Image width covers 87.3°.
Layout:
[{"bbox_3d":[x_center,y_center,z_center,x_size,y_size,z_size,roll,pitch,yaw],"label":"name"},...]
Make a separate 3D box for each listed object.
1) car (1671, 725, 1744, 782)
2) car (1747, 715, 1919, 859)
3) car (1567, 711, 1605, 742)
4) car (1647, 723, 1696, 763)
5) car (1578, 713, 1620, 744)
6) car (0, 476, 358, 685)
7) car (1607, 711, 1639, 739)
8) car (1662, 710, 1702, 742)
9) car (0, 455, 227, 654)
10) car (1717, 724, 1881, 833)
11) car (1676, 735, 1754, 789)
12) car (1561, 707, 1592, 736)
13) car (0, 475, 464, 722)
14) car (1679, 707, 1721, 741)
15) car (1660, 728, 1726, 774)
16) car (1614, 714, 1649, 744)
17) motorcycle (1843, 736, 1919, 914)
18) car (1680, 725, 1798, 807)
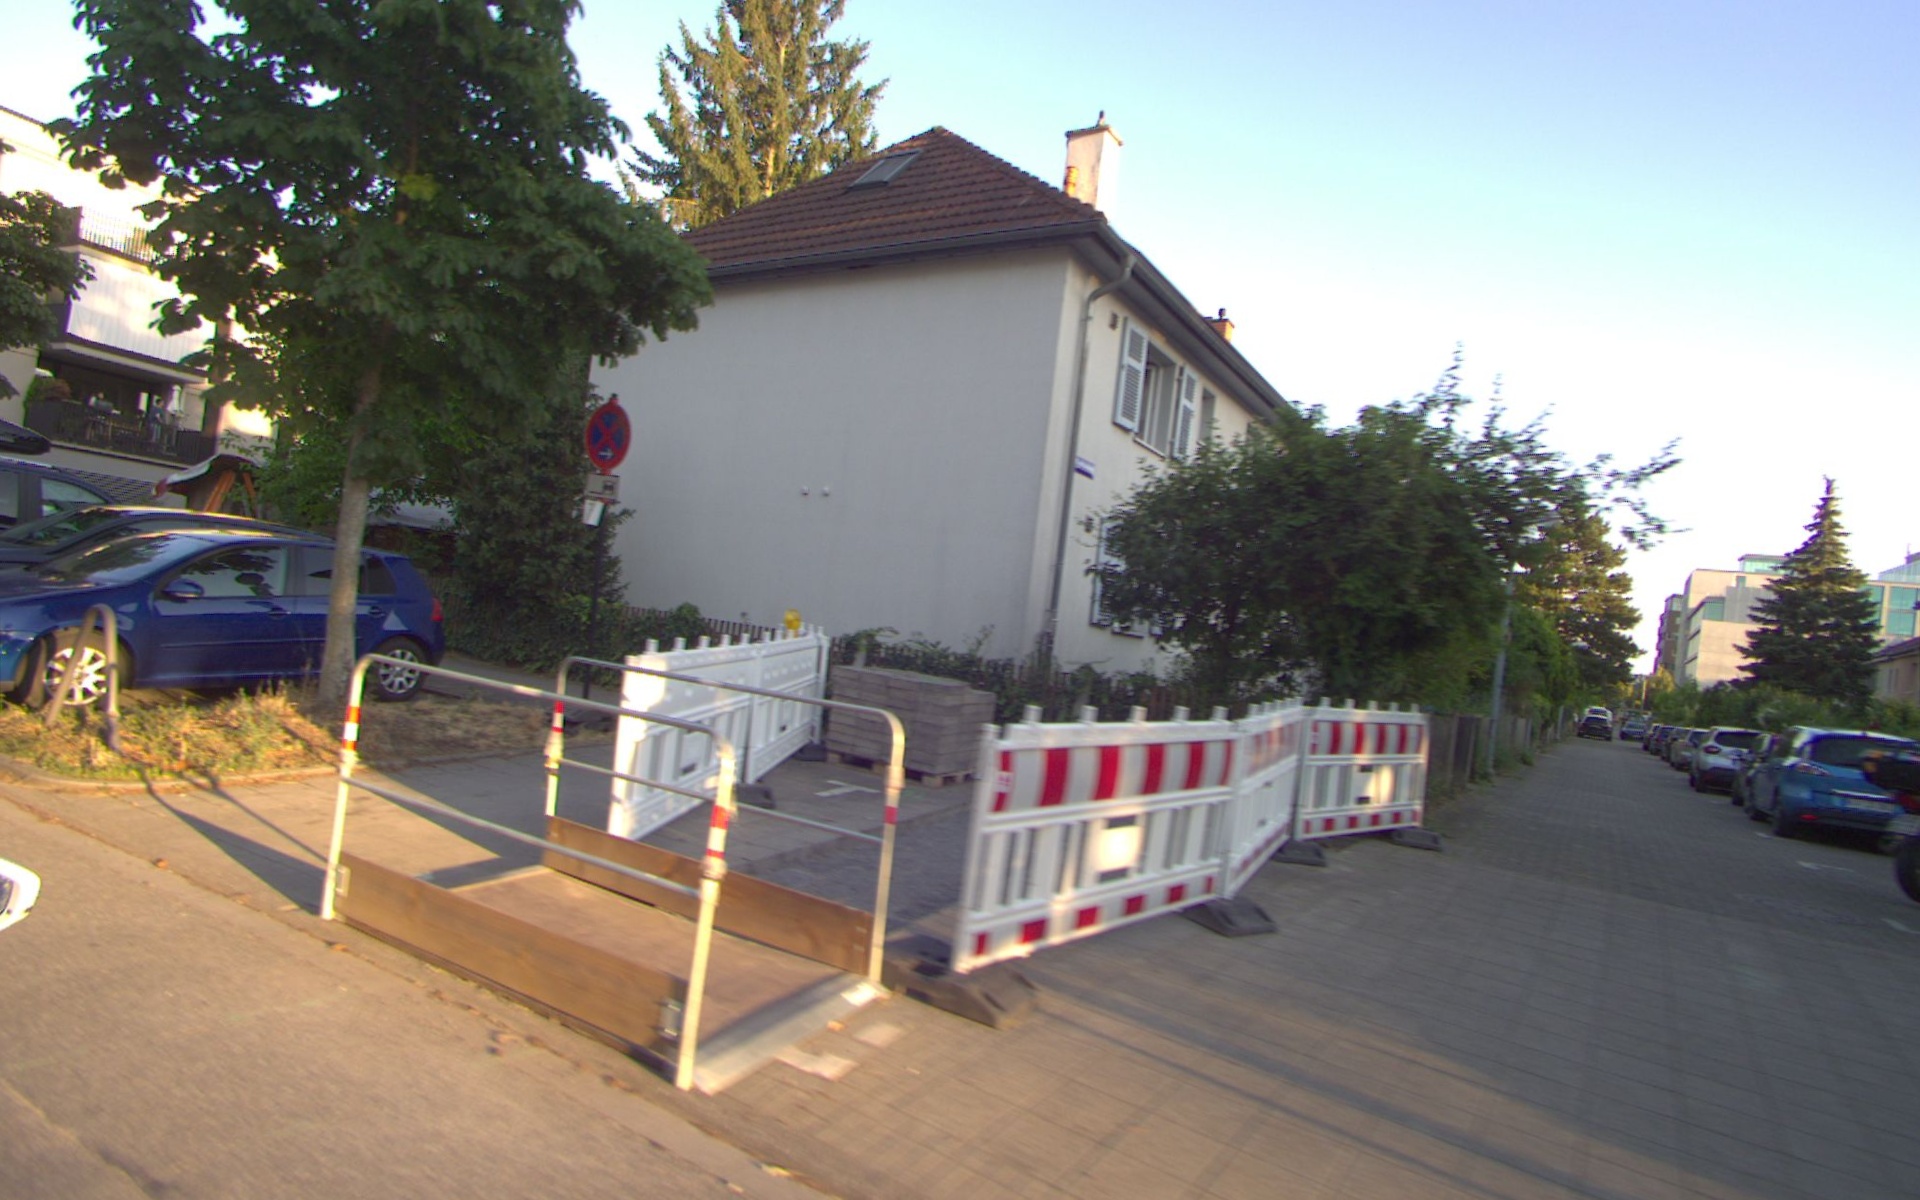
[{"bbox_3d":[24.763,5.058,33.419,1.521,1.569,3.272,7,-3,32],"label":"car"},{"bbox_3d":[13.134,2.714,15.053,1.692,1.656,3.628,7,-3,34],"label":"car"},{"bbox_3d":[43.744,8.819,70.335,1.967,1.832,3.996,7,-3,31],"label":"car"},{"bbox_3d":[33.491,6.725,47.426,1.533,1.560,3.649,7,-3,32],"label":"car"},{"bbox_3d":[40.297,8.087,63.510,1.967,1.569,3.996,7,-3,31],"label":"car"},{"bbox_3d":[-8.738,-0.186,10.158,1.965,1.789,3.999,7,-2,26],"label":"car"},{"bbox_3d":[56.855,10.752,86.318,1.967,2.036,3.995,7,-2,32],"label":"car"},{"bbox_3d":[50.380,8.806,70.296,1.837,1.922,3.801,7,-2,32],"label":"car"},{"bbox_3d":[-11.106,-0.618,10.880,2.064,2.047,4.569,7,-1,26],"label":"car"},{"bbox_3d":[15.823,3.301,19.174,1.774,1.569,3.639,7,-3,32],"label":"car"},{"bbox_3d":[22.025,4.696,29.443,1.450,1.261,3.066,7,-3,32],"label":"car"},{"bbox_3d":[50.735,9.999,82.829,1.967,2.036,3.996,7,-2,31],"label":"car"},{"bbox_3d":[-6.664,0.055,8.623,1.733,1.669,4.002,7,-2,23],"label":"car"},{"bbox_3d":[46.242,7.751,62.911,1.688,1.836,3.557,7,-2,32],"label":"car"},{"bbox_3d":[28.274,5.798,38.907,1.670,1.453,3.597,7,-3,32],"label":"car"},{"bbox_3d":[51.986,10.021,77.951,1.967,1.972,3.995,7,-2,32],"label":"car"},{"bbox_3d":[9.072,2.076,8.921,2.046,1.432,0.597,8,-1,-9],"label":"motorcycle"},{"bbox_3d":[18.168,3.818,23.600,1.683,1.507,3.562,7,-3,32],"label":"car"}]
